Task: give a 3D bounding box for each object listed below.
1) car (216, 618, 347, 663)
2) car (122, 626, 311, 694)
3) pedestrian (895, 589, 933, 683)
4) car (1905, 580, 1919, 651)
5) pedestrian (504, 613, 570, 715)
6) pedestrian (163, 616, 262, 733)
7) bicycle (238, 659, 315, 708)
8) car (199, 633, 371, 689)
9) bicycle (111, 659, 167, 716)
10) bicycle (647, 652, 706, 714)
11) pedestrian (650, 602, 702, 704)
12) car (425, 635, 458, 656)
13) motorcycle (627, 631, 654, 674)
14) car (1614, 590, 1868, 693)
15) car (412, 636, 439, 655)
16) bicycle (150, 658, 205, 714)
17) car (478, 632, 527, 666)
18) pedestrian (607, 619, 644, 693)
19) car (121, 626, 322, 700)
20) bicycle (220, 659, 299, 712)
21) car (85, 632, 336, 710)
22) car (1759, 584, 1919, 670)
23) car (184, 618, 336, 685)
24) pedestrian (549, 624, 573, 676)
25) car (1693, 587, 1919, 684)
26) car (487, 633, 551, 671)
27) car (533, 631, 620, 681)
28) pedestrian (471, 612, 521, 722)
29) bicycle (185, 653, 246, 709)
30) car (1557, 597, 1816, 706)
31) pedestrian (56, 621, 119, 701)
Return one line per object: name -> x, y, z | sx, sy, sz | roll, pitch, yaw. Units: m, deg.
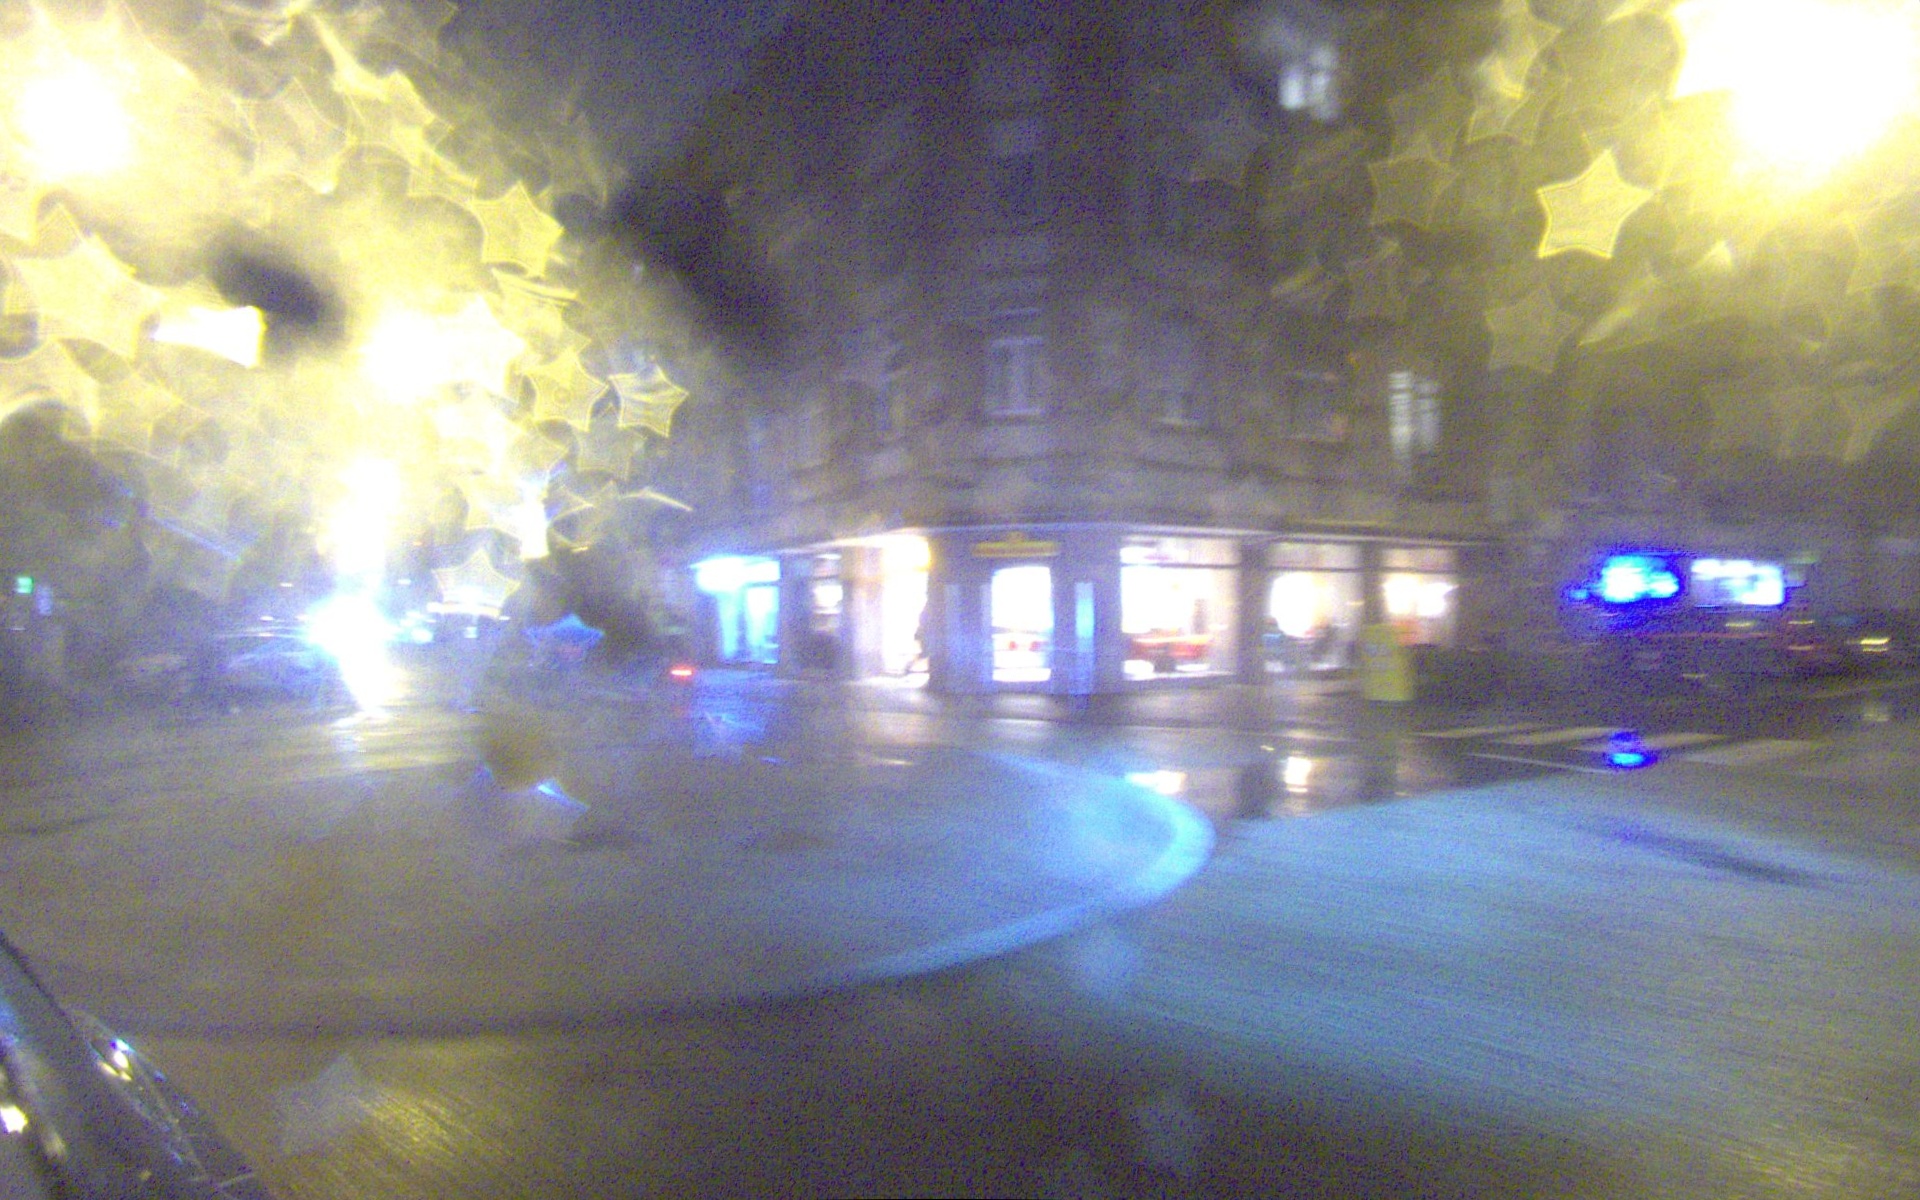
car -> -31.761, 1.912, 47.527 | 1.971, 1.995, 4.665 | -1, -3, 29
car -> -20.177, 1.606, 27.644 | 1.738, 1.725, 3.763 | -1, -3, 23
pedestrian -> -0.971, 0.755, 21.261 | 0.618, 1.923, 0.656 | 0, -2, -19
car -> 29.593, 0.368, 28.507 | 1.968, 2.029, 4.009 | -2, -1, -37
pedestrian -> -8.113, 1.198, 19.389 | 0.942, 1.877, 1.419 | 0, -2, -33
pedestrian -> -12.172, 1.193, 16.503 | 0.867, 1.847, 0.982 | -1, -1, 4
bicycle -> -14.866, 1.808, 22.002 | 1.629, 1.034, 0.335 | -1, -3, 12
car -> -20.720, 1.864, 31.258 | 1.822, 1.610, 4.040 | -1, -3, 23
bicycle -> -16.191, 1.707, 19.951 | 1.641, 1.034, 0.332 | 0, -2, 33
bicycle -> -5.302, 1.509, 18.856 | 0.702, 1.067, 1.807 | 0, -2, -28
pedestrian -> -5.293, 0.970, 18.840 | 0.702, 1.825, 1.129 | 0, -3, -29
car -> -38.776, 3.392, 75.678 | 1.822, 1.489, 3.745 | -2, -1, -32
motorcycle -> -11.469, 1.858, 36.303 | 0.529, 1.482, 1.462 | -1, -1, -32
car -> 17.432, 0.880, 22.805 | 1.966, 2.029, 4.013 | -2, 0, -28
car -> -47.790, 4.040, 90.466 | 1.822, 1.592, 3.745 | -2, -1, -32
bicycle -> -15.909, 1.728, 20.562 | 1.641, 1.101, 0.332 | -2, -3, 33
car -> -21.509, 2.271, 47.520 | 1.692, 1.489, 3.797 | -2, -1, -30
pedestrian -> -8.337, 1.391, 25.224 | 0.814, 1.784, 0.602 | -1, -1, -20
car -> -18.553, 1.568, 25.605 | 1.761, 1.725, 3.710 | -1, -3, 23
bicycle -> -14.859, 1.800, 21.466 | 1.630, 1.034, 0.334 | 1, -2, 14
car -> -16.854, 1.569, 23.002 | 1.765, 1.586, 4.220 | -1, -3, 30
car -> 23.215, 0.643, 25.753 | 1.966, 2.029, 4.013 | -2, 0, -28
car -> -22.698, 1.683, 32.976 | 1.710, 2.044, 3.711 | -1, -3, 23
pedestrian -> -17.737, 2.217, 44.953 | 0.788, 2.258, 1.119 | 0, -2, -33
car -> 20.136, 0.789, 23.942 | 1.966, 2.029, 4.013 | -2, 0, -28
car -> -18.658, 2.173, 42.743 | 1.693, 1.490, 4.170 | 0, -2, -35
car -> -13.012, 1.830, 34.126 | 1.821, 1.490, 5.045 | 0, -2, -32
pedestrian -> -8.153, 1.155, 17.762 | 0.665, 1.846, 1.081 | -1, -1, -30
bicycle -> -15.387, 1.659, 20.906 | 1.639, 1.034, 0.333 | 2, 1, 29
car -> 15.459, 1.034, 21.765 | 1.966, 2.029, 4.013 | -2, 0, -28
pedestrian -> -20.327, 1.407, 23.599 | 0.779, 1.831, 0.812 | 0, -1, -7
